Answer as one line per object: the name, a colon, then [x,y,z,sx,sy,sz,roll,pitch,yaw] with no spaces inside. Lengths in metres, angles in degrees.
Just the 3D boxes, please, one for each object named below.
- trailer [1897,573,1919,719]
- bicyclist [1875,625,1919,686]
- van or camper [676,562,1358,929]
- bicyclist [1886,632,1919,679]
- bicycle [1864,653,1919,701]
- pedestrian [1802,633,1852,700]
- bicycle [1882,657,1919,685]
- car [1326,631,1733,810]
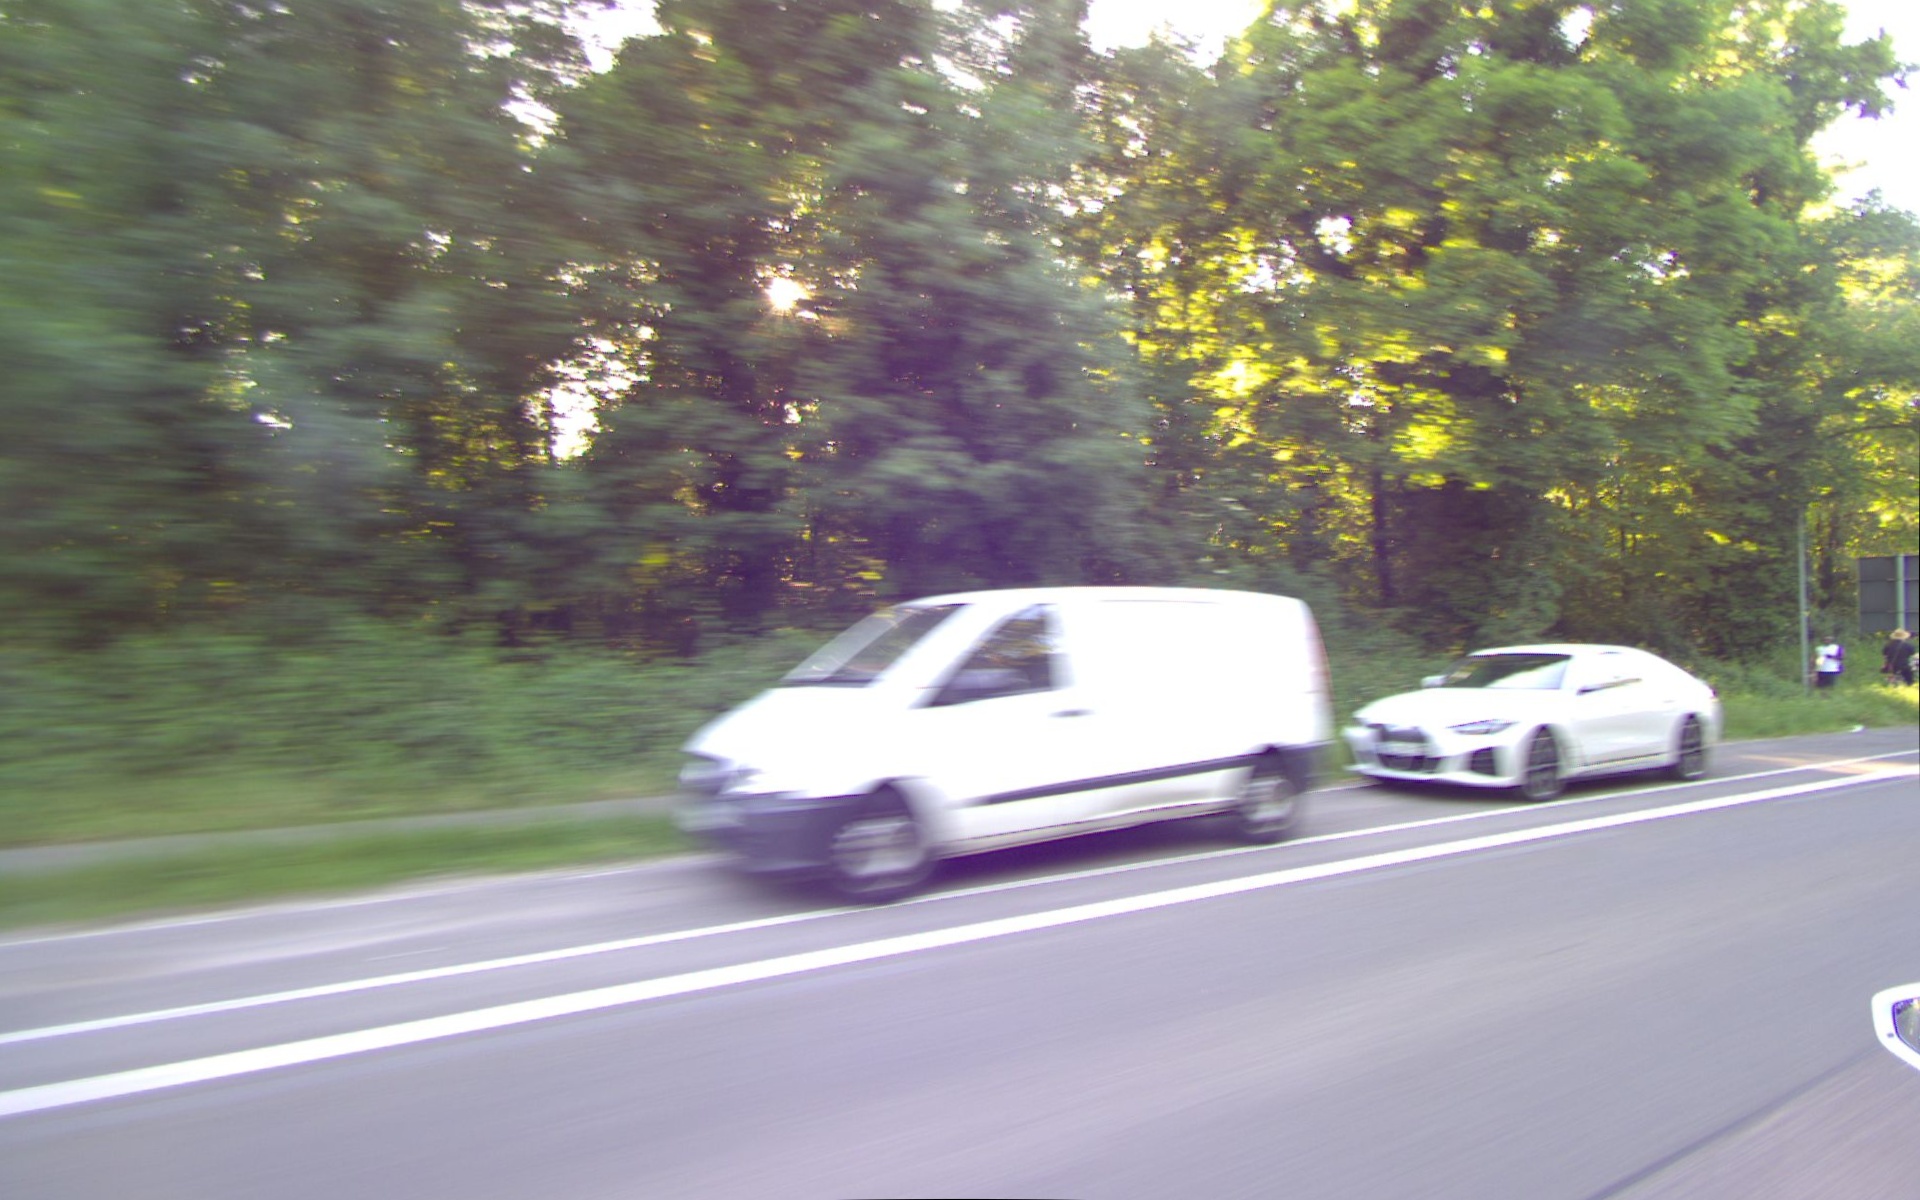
trailer: [19.590,0.822,18.600,4.363,2.631,1.985,1,-4,-30]
bicyclist: [21.860,1.279,23.390,0.789,1.392,0.602,1,-1,-30]
van or camper: [0.558,0.850,7.362,4.800,1.936,1.827,1,-3,-31]
bicyclist: [25.755,1.491,27.370,0.962,1.251,0.485,1,-1,-30]
bicycle: [21.969,1.775,23.415,2.368,1.021,0.648,1,-1,-30]
pedestrian: [21.729,1.646,25.175,0.708,1.628,0.755,1,-1,-30]
bicycle: [25.717,1.921,27.340,1.469,0.722,0.519,1,-1,-30]
car: [6.153,1.145,10.733,4.472,1.560,1.766,1,-4,-31]
